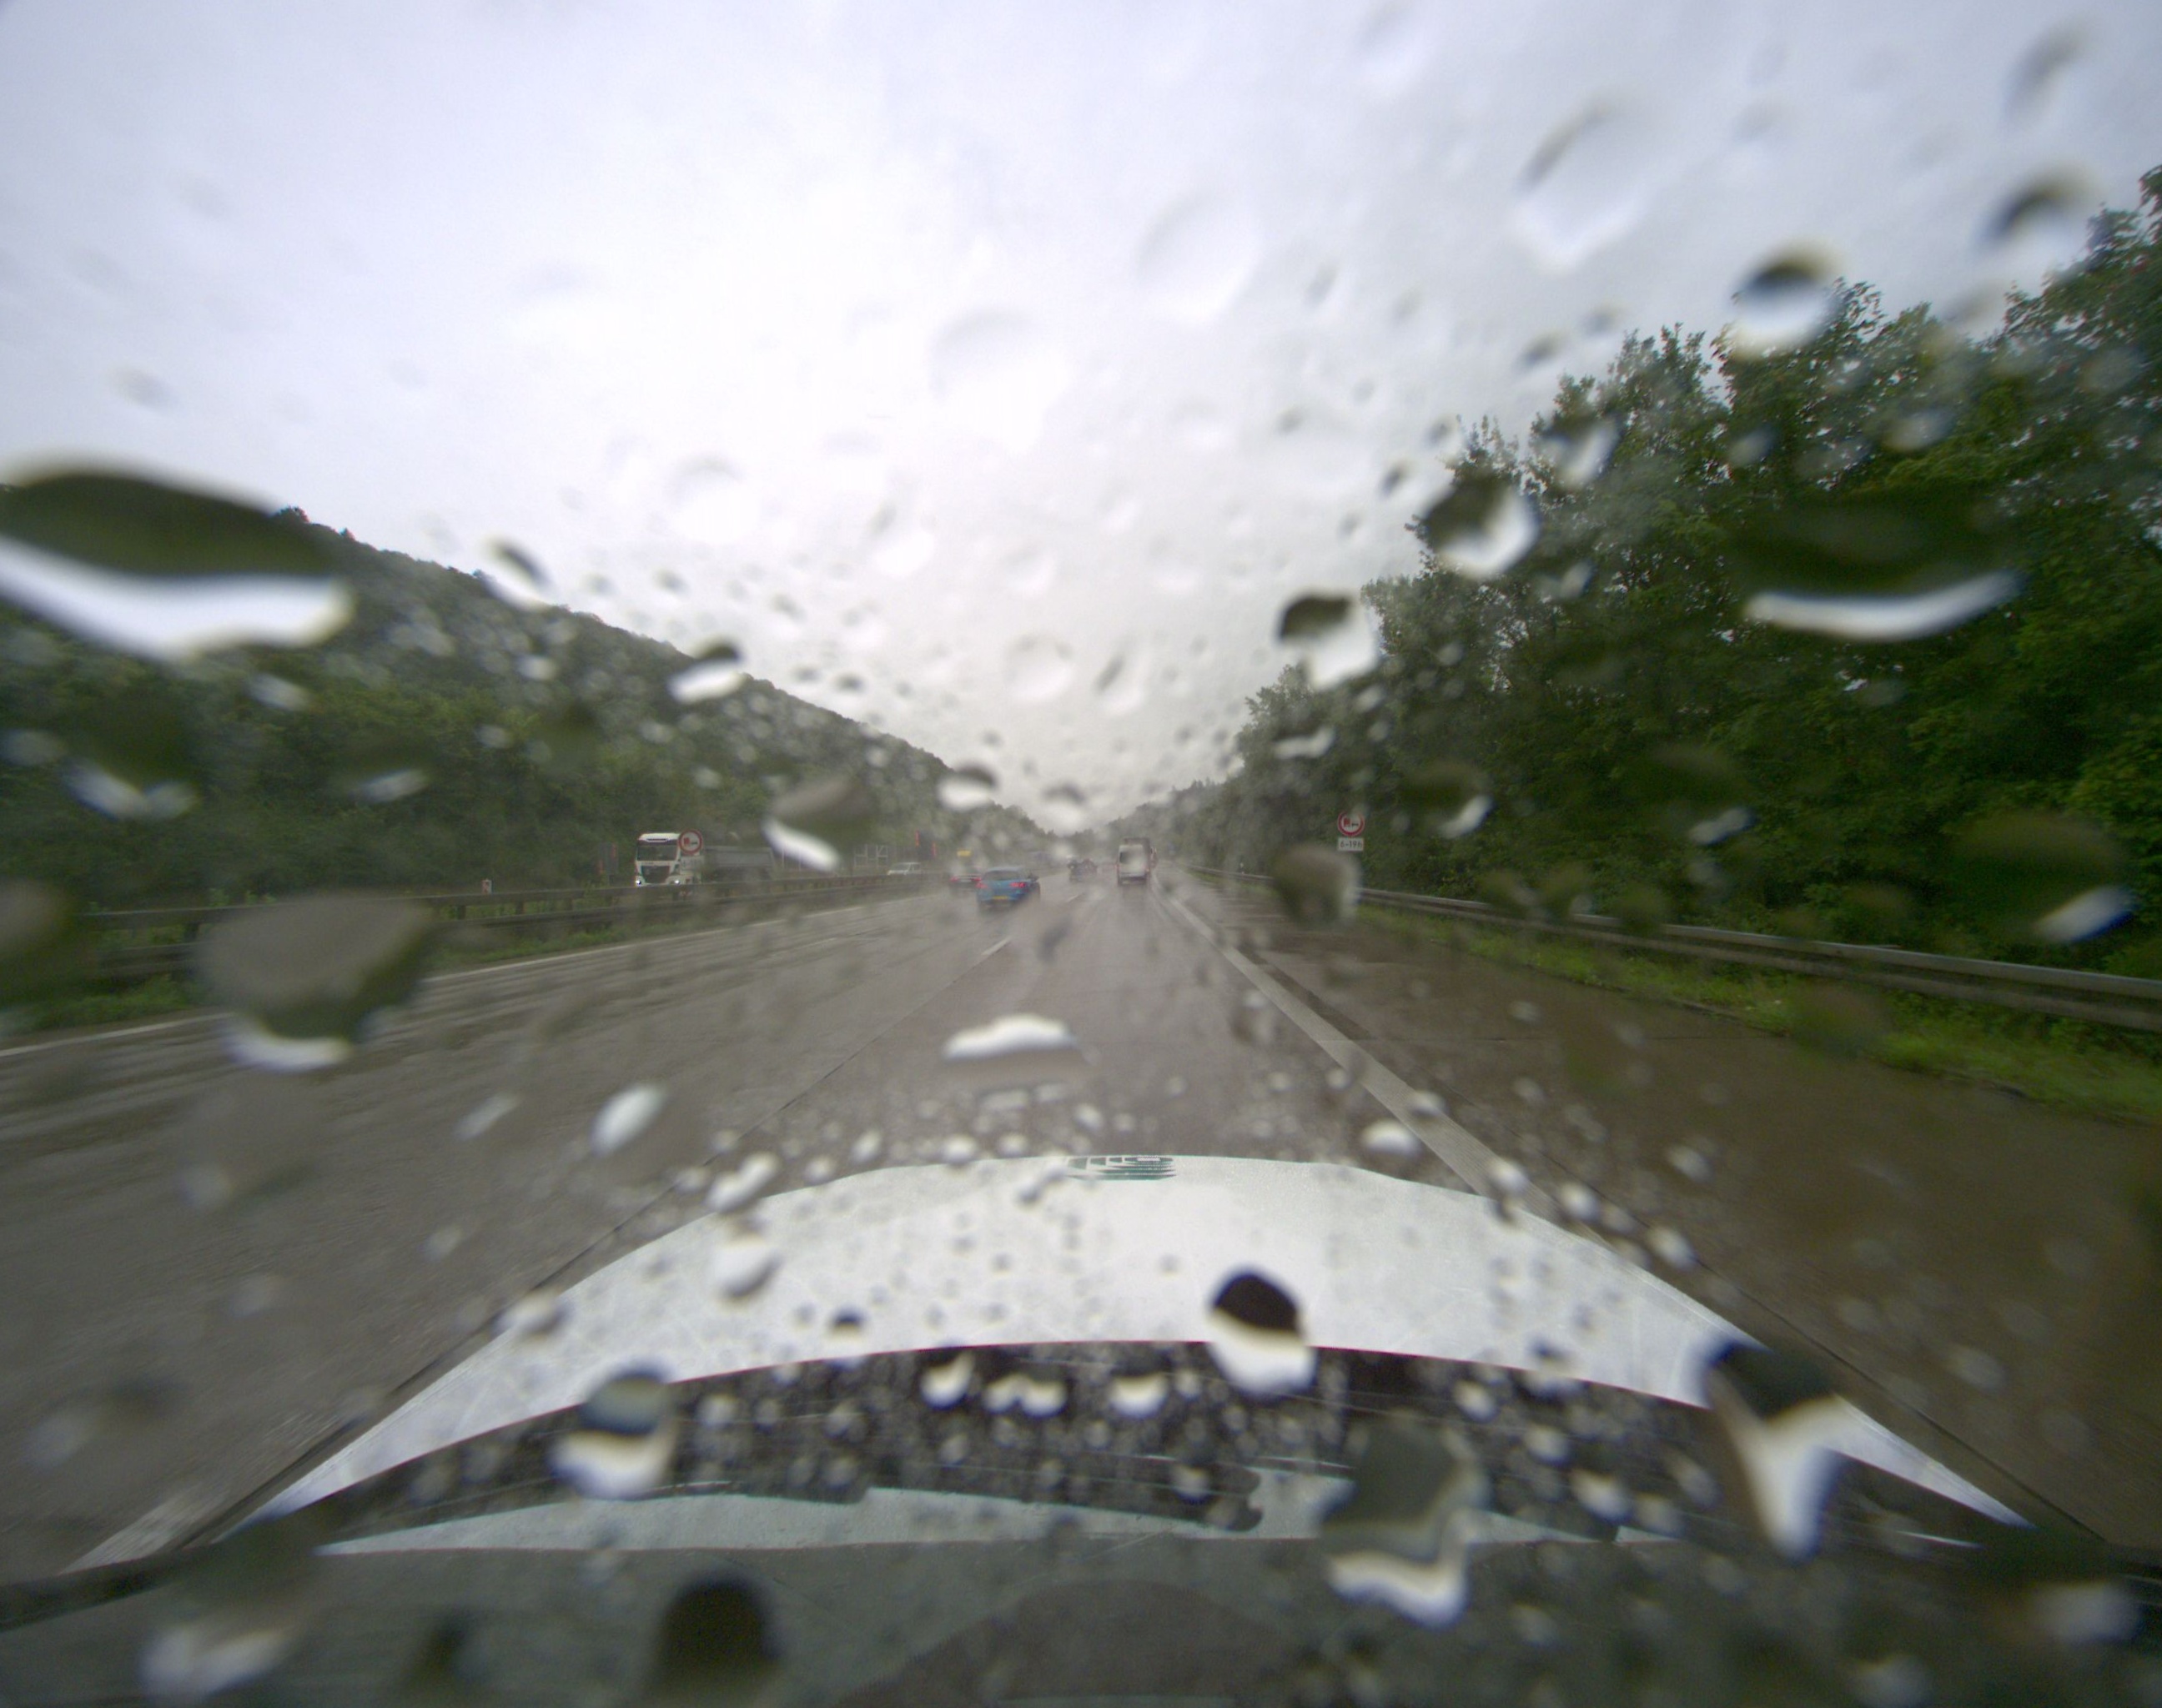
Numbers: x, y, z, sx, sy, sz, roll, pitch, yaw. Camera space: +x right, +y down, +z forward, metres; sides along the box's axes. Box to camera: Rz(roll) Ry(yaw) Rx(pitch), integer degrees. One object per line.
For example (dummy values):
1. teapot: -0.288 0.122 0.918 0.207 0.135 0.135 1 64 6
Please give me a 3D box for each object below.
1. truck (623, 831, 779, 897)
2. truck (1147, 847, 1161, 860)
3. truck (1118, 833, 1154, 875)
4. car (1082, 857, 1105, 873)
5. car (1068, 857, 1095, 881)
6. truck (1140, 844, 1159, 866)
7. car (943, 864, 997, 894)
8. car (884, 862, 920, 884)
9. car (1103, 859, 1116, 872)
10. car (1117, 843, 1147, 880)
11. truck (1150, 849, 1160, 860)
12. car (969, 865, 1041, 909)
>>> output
1. truck: -21.481 0.546 47.204 2.761 3.315 11.530 -1 0 5
2. truck: 17.151 -0.048 191.826 2.570 2.981 9.049 -1 0 9
3. truck: 5.966 -0.146 86.672 3.369 3.967 8.679 -4 1 5
4. car: 1.346 1.151 85.632 1.983 1.530 4.007 -1 0 7
5. car: 0.086 1.147 65.035 1.860 1.810 4.193 -1 0 4
6. truck: 12.895 0.209 152.211 3.073 3.910 9.074 -1 -1 8
7. car: -5.365 1.200 39.896 1.849 1.339 4.353 -1 0 2
8. car: -16.508 1.728 75.368 1.969 2.014 5.202 -1 -1 3
9. car: 3.779 1.555 107.510 1.607 1.628 4.193 -1 0 4
10. car: 3.483 0.492 54.948 1.891 2.334 5.256 -1 0 4
11. truck: 20.713 0.110 228.162 2.574 2.981 9.035 -1 0 4
12. car: -2.504 1.068 27.823 1.849 1.339 4.353 -1 0 2
